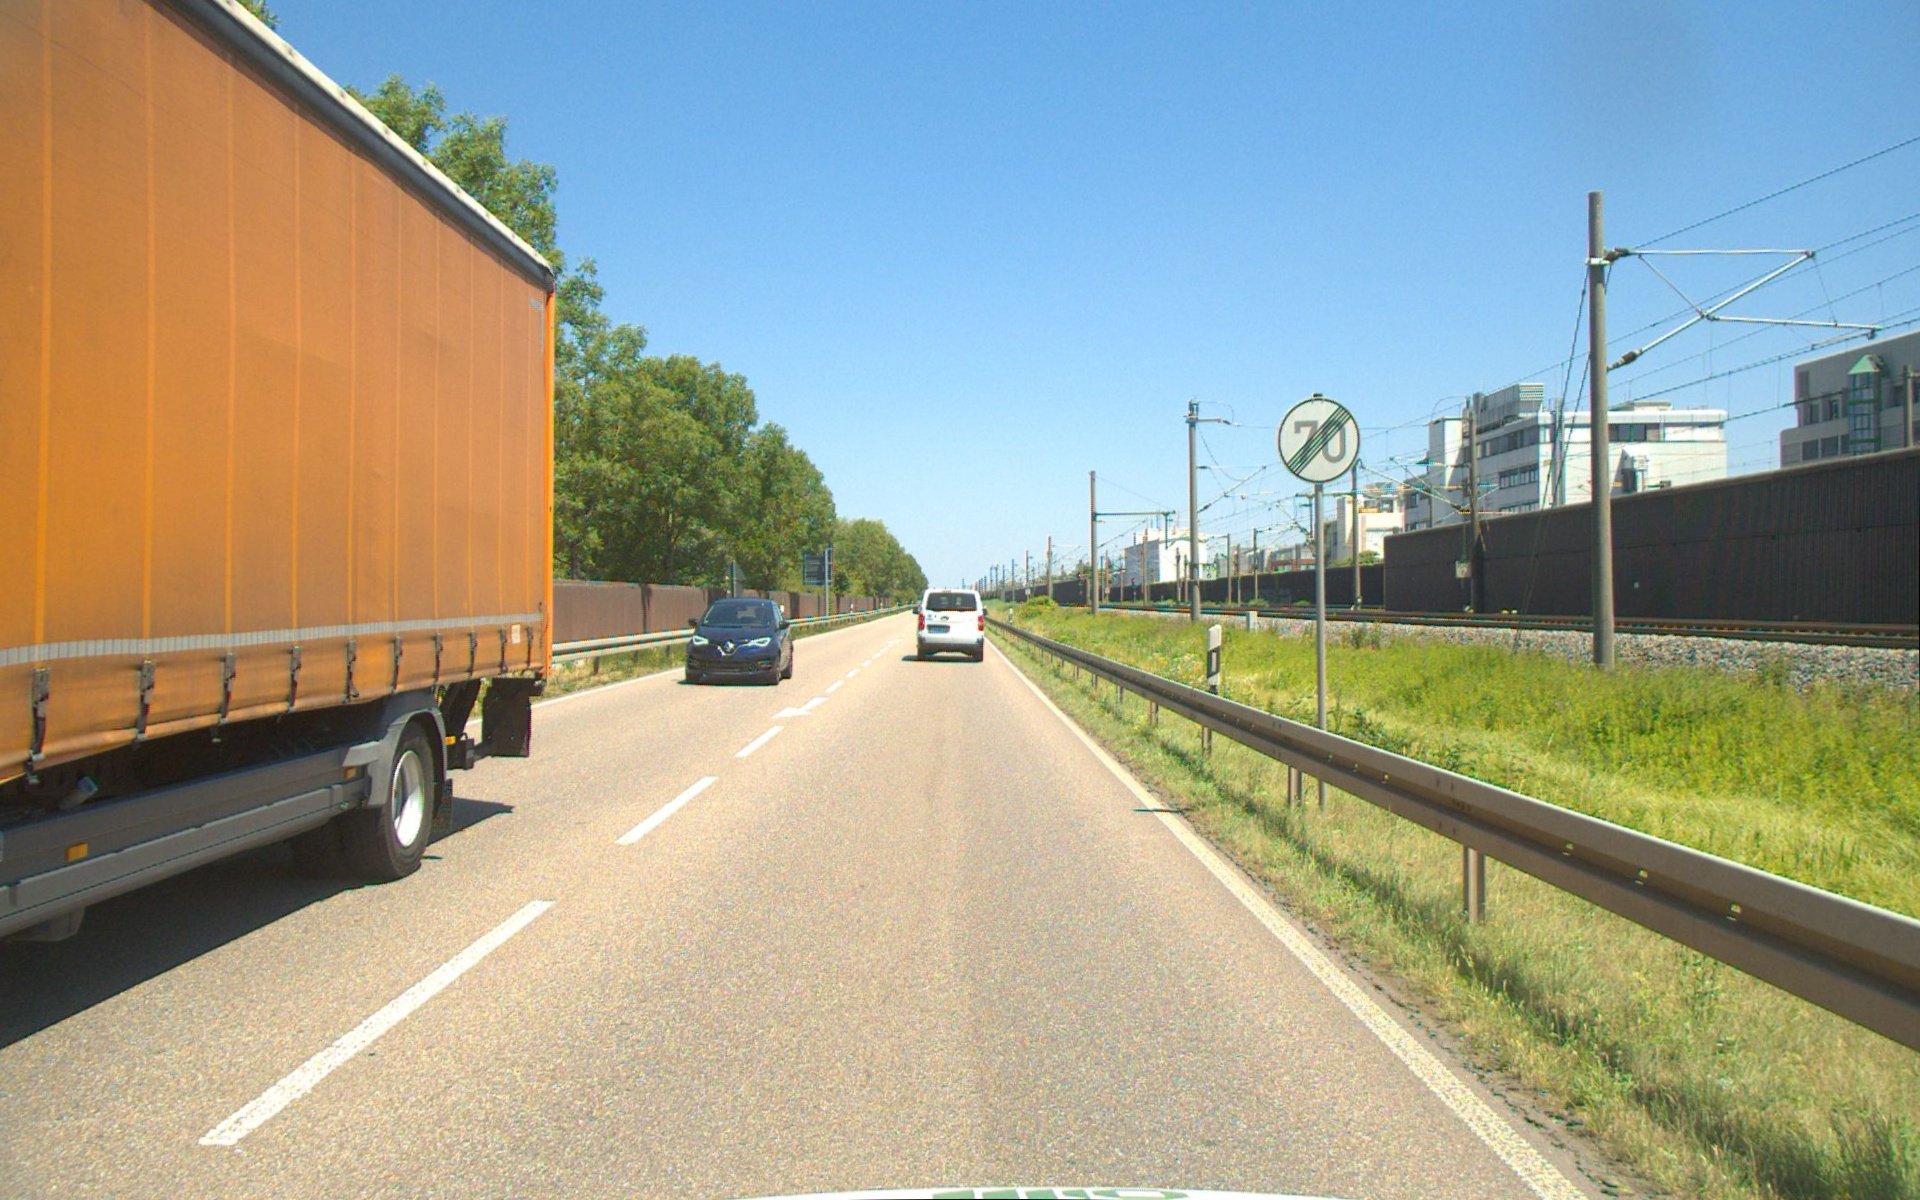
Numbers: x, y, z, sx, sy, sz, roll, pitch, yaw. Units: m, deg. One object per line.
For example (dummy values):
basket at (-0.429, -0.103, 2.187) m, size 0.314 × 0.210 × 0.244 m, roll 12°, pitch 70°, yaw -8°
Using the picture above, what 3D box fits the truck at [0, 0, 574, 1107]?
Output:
truck at (-4.161, -0.492, 7.479) m, size 2.735 × 3.907 × 9.322 m, roll 0°, pitch 0°, yaw -1°

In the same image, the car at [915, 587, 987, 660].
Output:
car at (-0.255, 0.642, 46.278) m, size 1.906 × 1.914 × 4.880 m, roll 0°, pitch 0°, yaw -1°

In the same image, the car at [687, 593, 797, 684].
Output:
car at (-4.059, 0.684, 31.311) m, size 1.589 × 1.605 × 3.763 m, roll 0°, pitch 0°, yaw 0°
